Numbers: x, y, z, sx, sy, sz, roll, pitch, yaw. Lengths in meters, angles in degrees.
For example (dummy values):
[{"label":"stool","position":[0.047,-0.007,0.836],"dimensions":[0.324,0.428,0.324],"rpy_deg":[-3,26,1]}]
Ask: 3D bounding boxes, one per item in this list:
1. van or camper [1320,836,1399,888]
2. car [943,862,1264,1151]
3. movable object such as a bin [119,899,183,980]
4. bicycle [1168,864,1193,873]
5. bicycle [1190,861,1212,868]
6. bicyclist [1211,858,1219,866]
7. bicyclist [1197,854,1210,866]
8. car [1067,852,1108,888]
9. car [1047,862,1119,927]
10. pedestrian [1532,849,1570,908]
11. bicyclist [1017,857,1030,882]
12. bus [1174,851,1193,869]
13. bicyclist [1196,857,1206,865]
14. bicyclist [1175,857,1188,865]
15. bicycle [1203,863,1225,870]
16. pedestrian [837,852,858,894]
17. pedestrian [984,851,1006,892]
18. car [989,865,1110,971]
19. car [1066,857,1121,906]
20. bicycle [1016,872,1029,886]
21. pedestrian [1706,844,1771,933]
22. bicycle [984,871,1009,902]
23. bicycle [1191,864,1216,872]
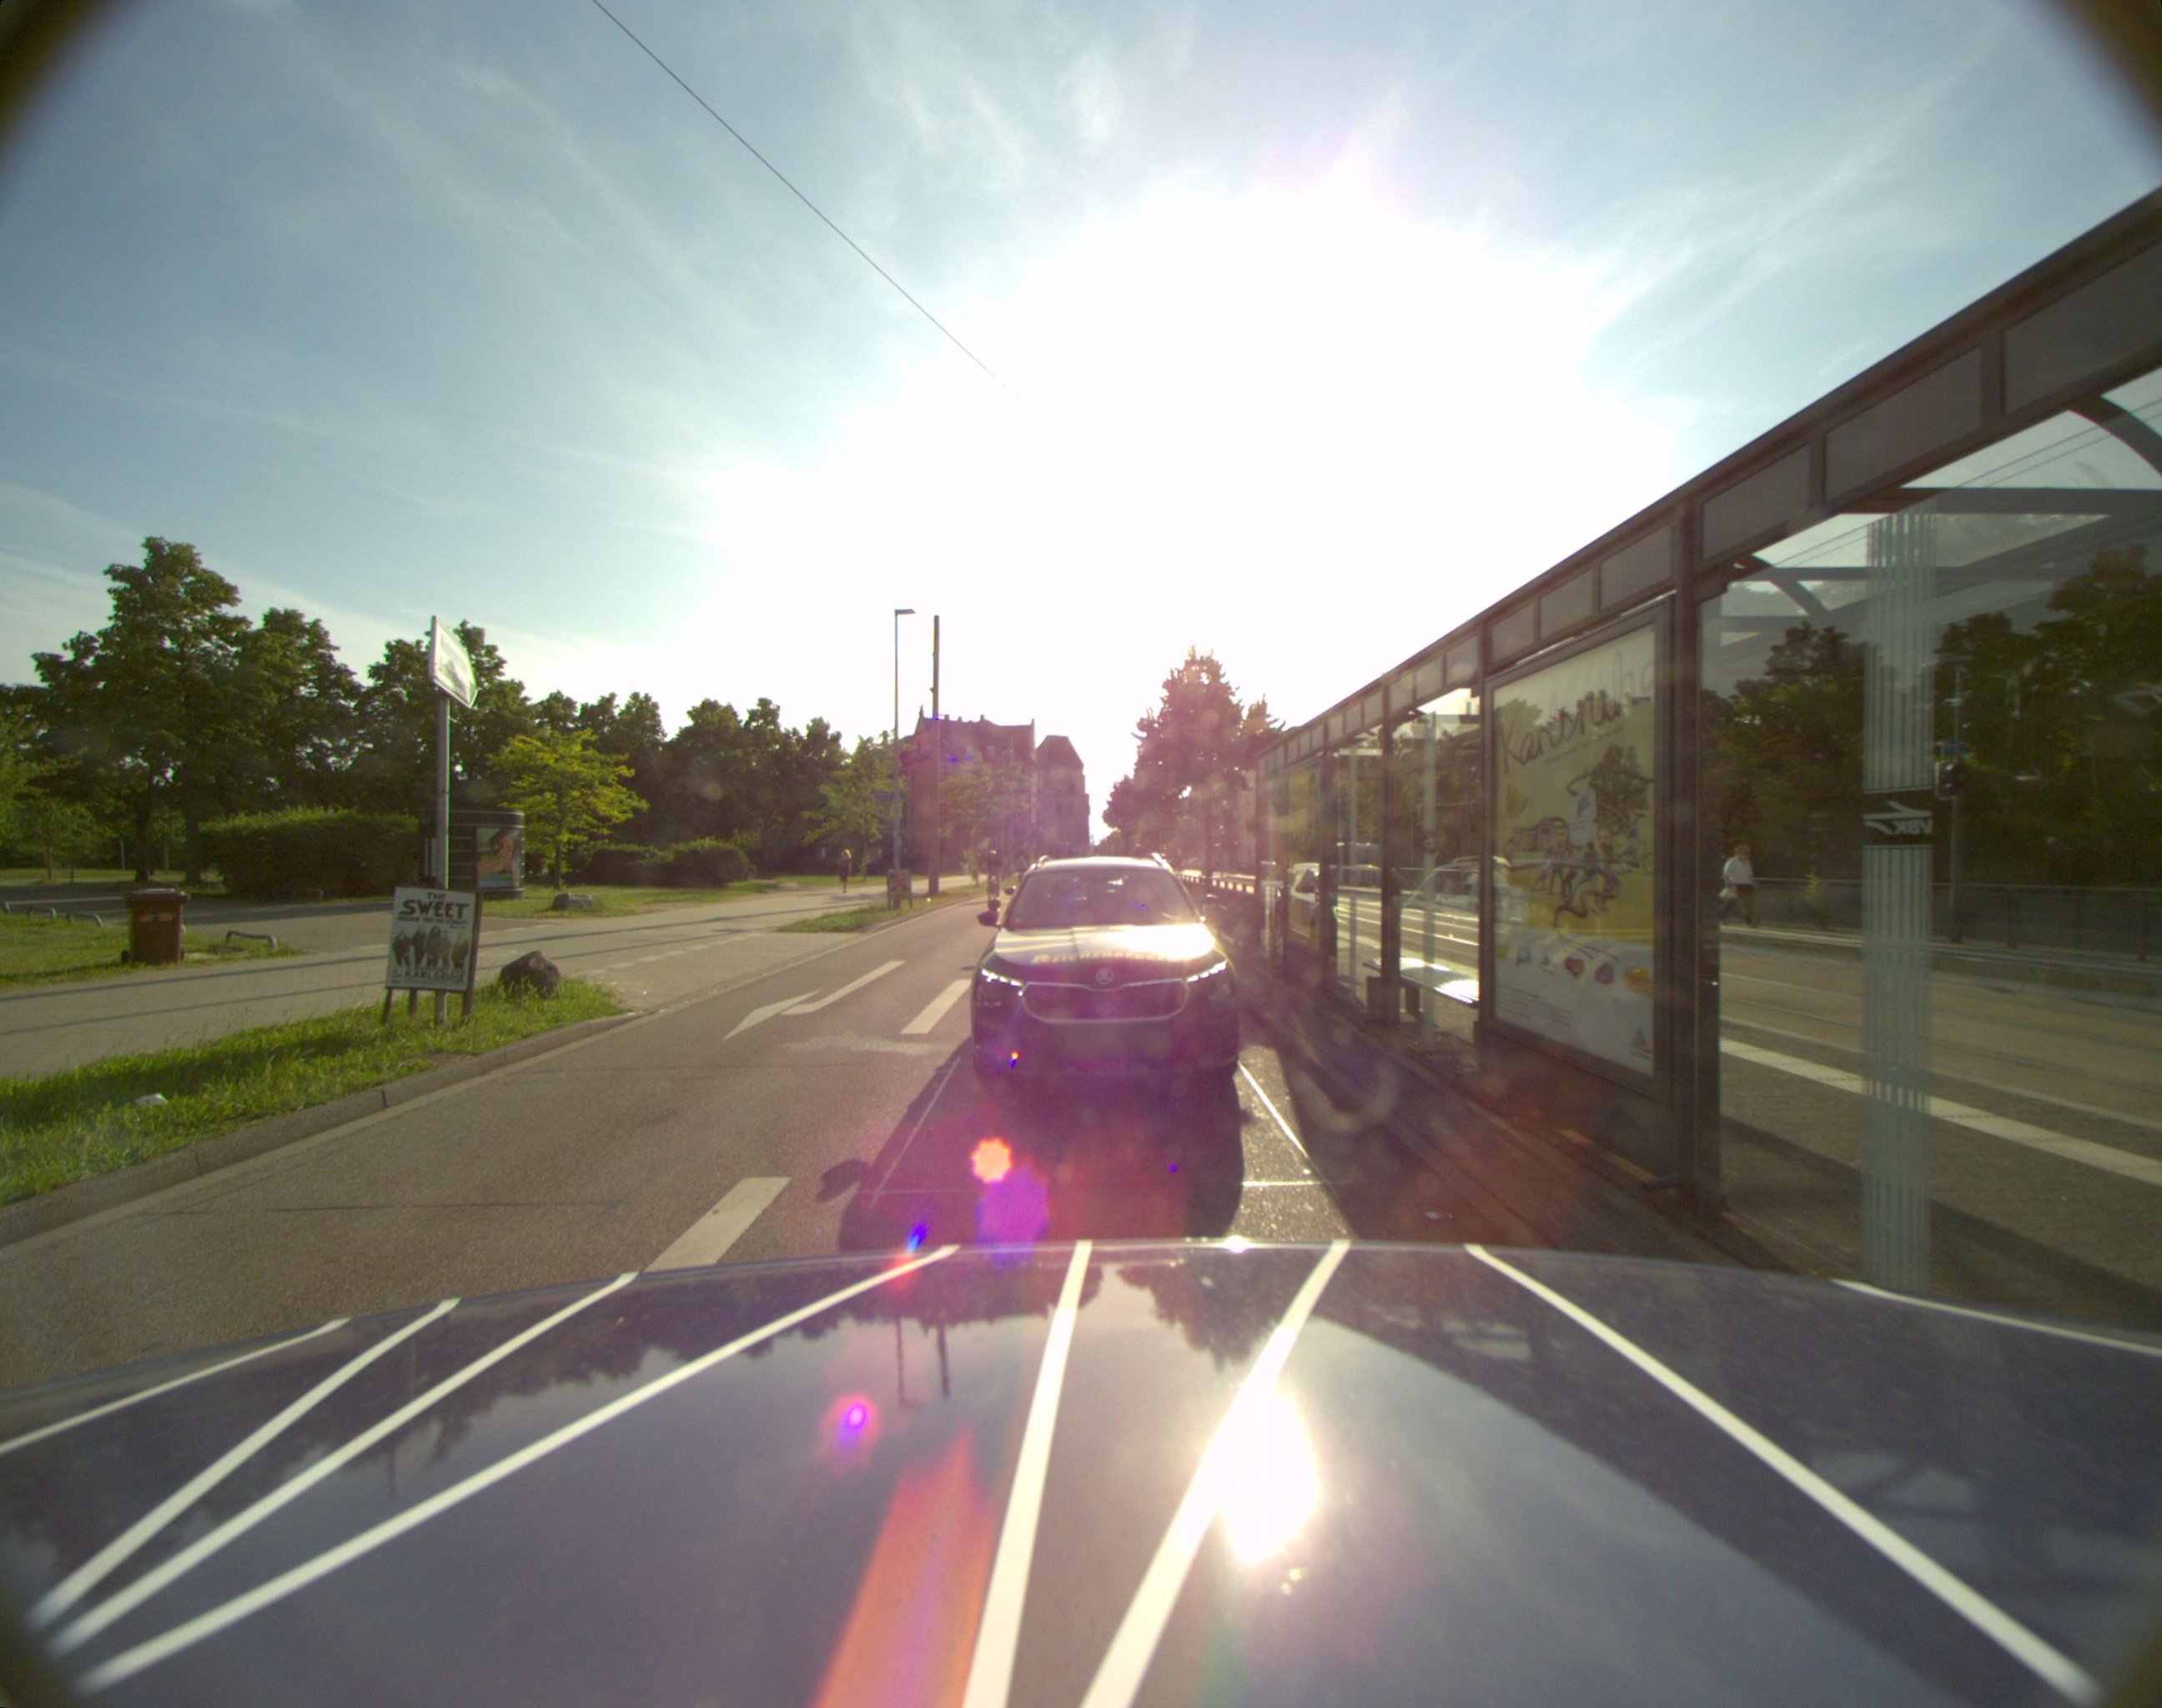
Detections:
[{"label":"van or camper","position":[16.949,0.426,46.766],"dimensions":[2.527,2.951,6.411],"rpy_deg":[-2,1,1]},{"label":"car","position":[0.160,0.880,6.360],"dimensions":[1.756,1.534,4.235],"rpy_deg":[-1,0,1]},{"label":"movable object such as a bin","position":[-11.389,1.032,9.320],"dimensions":[0.603,0.912,0.457],"rpy_deg":[1,1,42]},{"label":"bicycle","position":[11.936,1.740,91.122],"dimensions":[2.962,0.974,0.879],"rpy_deg":[0,0,-2]},{"label":"bicycle","position":[14.638,1.316,92.778],"dimensions":[2.536,0.876,0.631],"rpy_deg":[0,0,5]},{"label":"bicyclist","position":[16.488,1.011,93.779],"dimensions":[0.897,0.908,0.616],"rpy_deg":[0,0,4]},{"label":"bicyclist","position":[15.443,0.717,95.915],"dimensions":[1.402,1.538,0.888],"rpy_deg":[0,0,-1]},{"label":"car","position":[0.309,0.680,34.913],"dimensions":[1.756,1.534,4.235],"rpy_deg":[-1,0,1]},{"label":"car","position":[0.083,1.018,20.892],"dimensions":[1.756,1.534,4.235],"rpy_deg":[-1,0,1]},{"label":"pedestrian","position":[13.698,0.697,22.176],"dimensions":[0.621,1.675,0.618],"rpy_deg":[3,1,1]},{"label":"bicyclist","position":[-3.318,0.876,44.138],"dimensions":[0.689,1.445,1.111],"rpy_deg":[0,0,0]},{"label":"bus","position":[20.126,1.159,149.680],"dimensions":[2.437,3.415,9.261],"rpy_deg":[-2,1,1]},{"label":"bicyclist","position":[14.628,0.877,92.777],"dimensions":[1.217,1.018,0.672],"rpy_deg":[0,0,5]},{"label":"bicyclist","position":[12.039,0.853,91.151],"dimensions":[1.402,1.000,0.888],"rpy_deg":[0,0,-1]},{"label":"bicycle","position":[16.402,1.497,93.790],"dimensions":[2.537,0.876,0.631],"rpy_deg":[0,0,4]},{"label":"pedestrian","position":[-9.418,0.757,30.648],"dimensions":[0.621,1.675,0.618],"rpy_deg":[-2,1,1]},{"label":"pedestrian","position":[-3.241,0.653,28.667],"dimensions":[0.637,1.512,0.845],"rpy_deg":[-2,1,2]},{"label":"car","position":[-0.429,0.979,13.317],"dimensions":[1.756,1.451,4.235],"rpy_deg":[-1,0,1]},{"label":"car","position":[0.450,0.904,26.868],"dimensions":[1.756,1.534,4.235],"rpy_deg":[-1,0,1]},{"label":"bicycle","position":[-3.395,1.451,44.215],"dimensions":[0.567,0.789,2.041],"rpy_deg":[0,0,0]},{"label":"pedestrian","position":[12.879,0.655,14.896],"dimensions":[0.621,1.675,0.618],"rpy_deg":[3,1,1]},{"label":"bicycle","position":[-3.180,1.193,28.626],"dimensions":[0.651,1.040,1.980],"rpy_deg":[-2,1,1]},{"label":"bicycle","position":[15.473,1.808,95.944],"dimensions":[2.962,0.974,0.879],"rpy_deg":[0,0,-2]}]
